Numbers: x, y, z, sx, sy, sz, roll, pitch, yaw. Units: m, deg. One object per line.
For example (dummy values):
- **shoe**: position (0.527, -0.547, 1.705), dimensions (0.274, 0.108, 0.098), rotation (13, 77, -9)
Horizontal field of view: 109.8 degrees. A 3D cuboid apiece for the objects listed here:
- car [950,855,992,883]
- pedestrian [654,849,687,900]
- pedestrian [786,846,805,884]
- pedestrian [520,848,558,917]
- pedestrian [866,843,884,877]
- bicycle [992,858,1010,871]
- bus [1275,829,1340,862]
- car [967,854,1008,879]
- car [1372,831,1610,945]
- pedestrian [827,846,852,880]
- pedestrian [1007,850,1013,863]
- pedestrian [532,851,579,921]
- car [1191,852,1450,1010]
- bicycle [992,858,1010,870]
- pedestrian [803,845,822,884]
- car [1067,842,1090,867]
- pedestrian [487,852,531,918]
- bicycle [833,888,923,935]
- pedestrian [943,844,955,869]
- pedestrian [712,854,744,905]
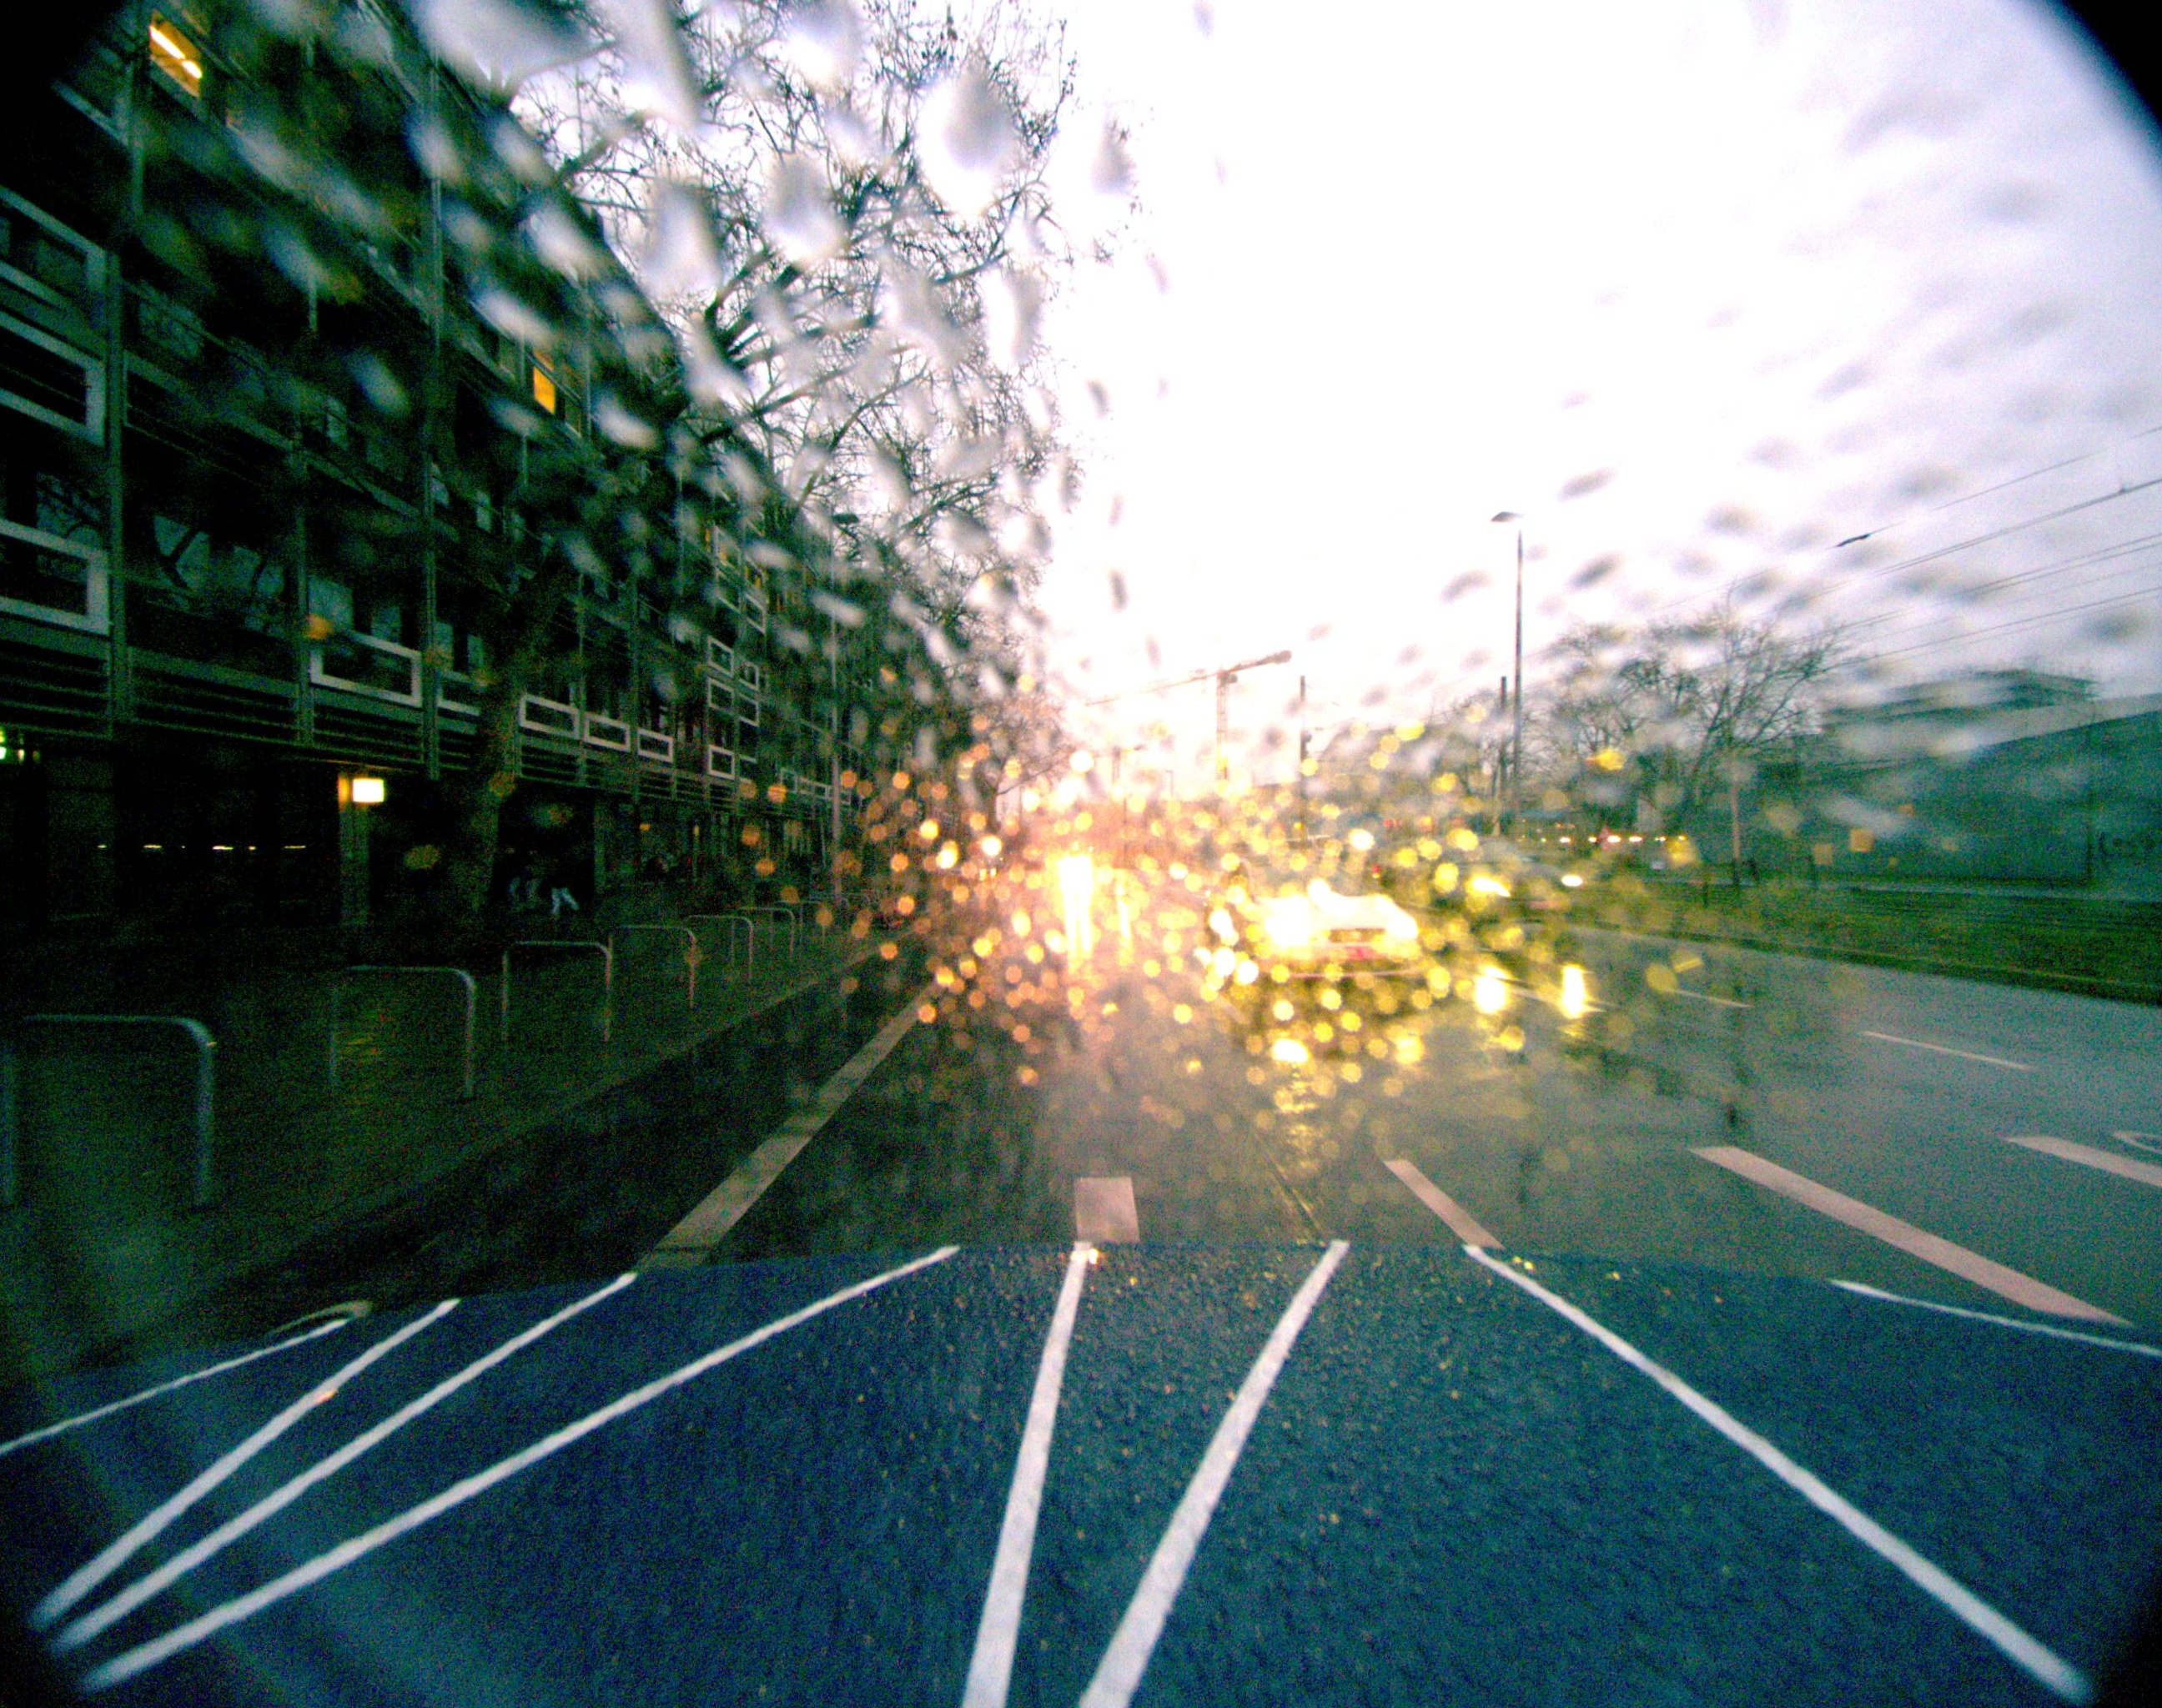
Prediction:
- **car**: position (-6.099, 0.794, 42.432), dimensions (1.608, 1.424, 3.930), rotation (2, 1, 2)
- **pedestrian**: position (-13.427, 0.646, 24.885), dimensions (0.617, 1.647, 0.780), rotation (0, 1, 1)
- **pedestrian**: position (-12.589, 0.478, 33.516), dimensions (0.642, 1.645, 0.842), rotation (-1, 1, -13)
- **pedestrian**: position (-13.263, 0.678, 18.612), dimensions (0.379, 1.658, 0.713), rotation (0, 1, 1)
- **pedestrian**: position (-12.092, 0.358, 44.576), dimensions (0.822, 2.002, 0.735), rotation (0, 1, -2)
- **bicycle**: position (-7.085, 0.927, 67.358), dimensions (1.523, 1.030, 0.469), rotation (-2, 1, -7)
- **bus**: position (26.243, -0.927, 88.910), dimensions (2.815, 3.557, 12.299), rotation (0, 0, -6)
- **car**: position (-5.848, 0.754, 47.863), dimensions (1.998, 1.477, 4.001), rotation (1, -1, 1)
- **car**: position (7.159, 0.500, 13.929), dimensions (1.707, 1.733, 4.610), rotation (0, 1, -3)
- **pedestrian**: position (-10.899, 0.412, 34.285), dimensions (0.866, 1.515, 0.838), rotation (0, 1, -1)
- **pedestrian**: position (-11.102, 0.431, 118.272), dimensions (0.838, 2.002, 0.771), rotation (-2, 1, 0)
- **pedestrian**: position (-12.735, 0.764, 18.445), dimensions (0.501, 1.658, 0.873), rotation (0, 1, 1)
- **car**: position (2.671, 0.752, 9.562), dimensions (1.778, 1.466, 4.128), rotation (-2, 1, -2)
- **bicycle**: position (-7.231, 0.930, 68.678), dimensions (1.523, 1.030, 0.469), rotation (-2, 1, -7)
- **pedestrian**: position (-11.950, 0.438, 33.839), dimensions (0.661, 1.708, 0.841), rotation (-1, 1, -14)
- **car**: position (-0.146, 0.061, 64.877), dimensions (1.858, 2.002, 4.000), rotation (-1, 0, 1)
- **pedestrian**: position (-13.903, 0.735, 18.492), dimensions (0.484, 1.555, 0.745), rotation (0, 1, -1)
- **bicycle**: position (-4.432, 1.249, 16.660), dimensions (1.792, 0.968, 0.617), rotation (1, 1, -4)
- **pedestrian**: position (-10.483, 0.182, 60.415), dimensions (0.791, 2.002, 1.024), rotation (0, 1, 0)
- **pedestrian**: position (-10.805, 0.772, 23.287), dimensions (0.649, 1.535, 0.615), rotation (0, 1, 1)
